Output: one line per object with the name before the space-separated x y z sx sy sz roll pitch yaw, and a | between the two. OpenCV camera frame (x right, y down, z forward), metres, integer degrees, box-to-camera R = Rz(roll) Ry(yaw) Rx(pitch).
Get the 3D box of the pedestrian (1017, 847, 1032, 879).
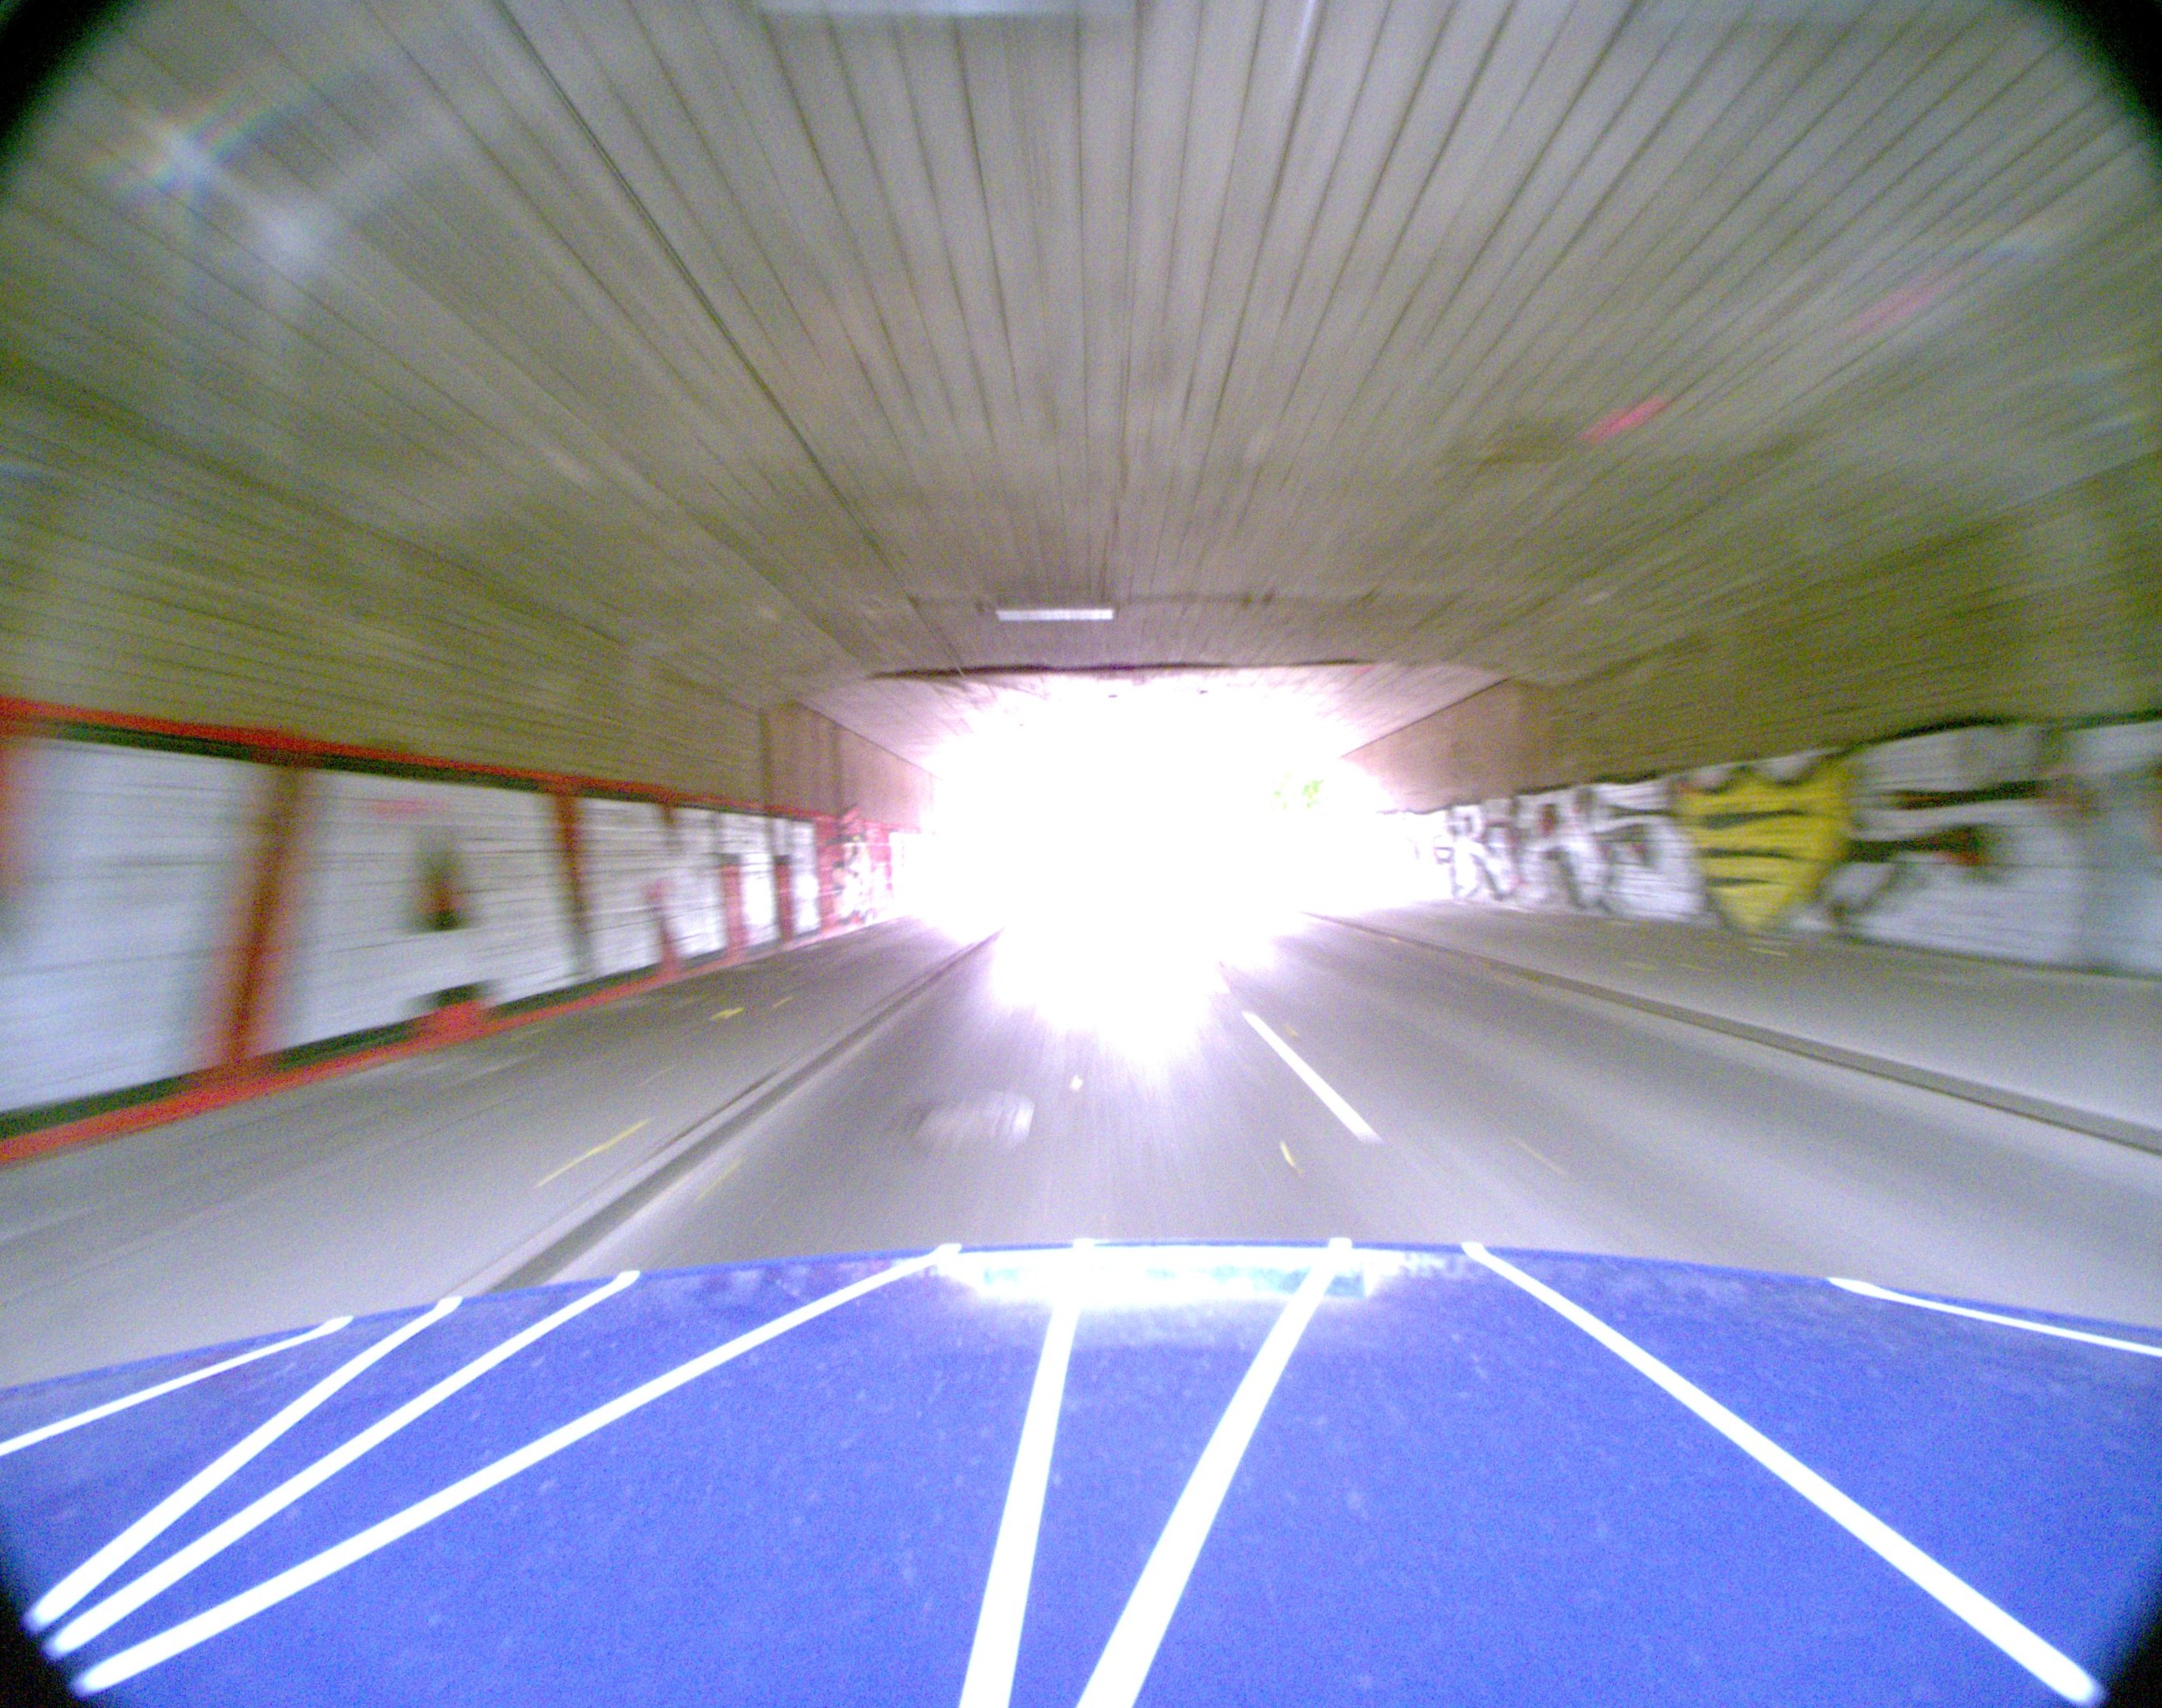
pedestrian | -3.348 0.534 44.882 0.822 1.869 1.180 -1 1 -6
